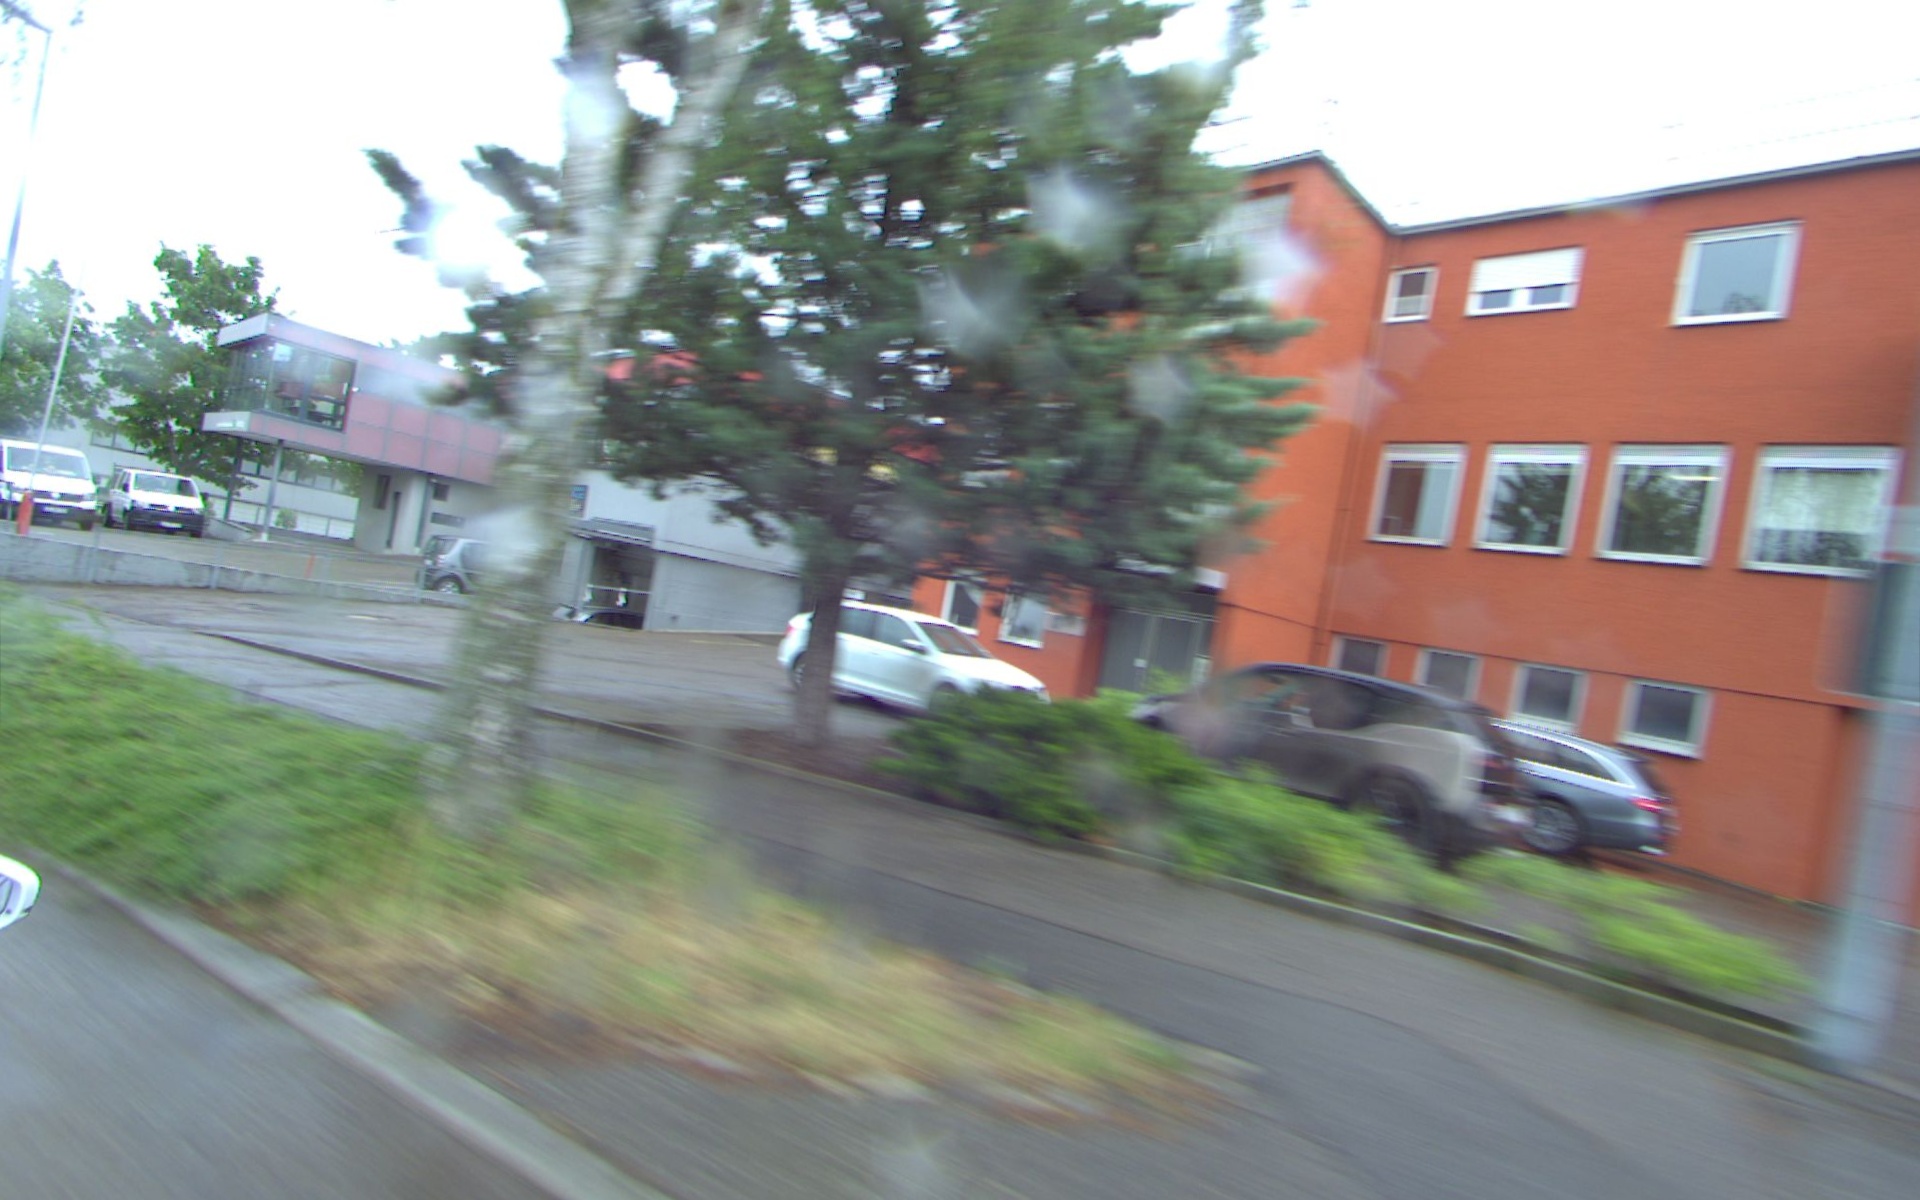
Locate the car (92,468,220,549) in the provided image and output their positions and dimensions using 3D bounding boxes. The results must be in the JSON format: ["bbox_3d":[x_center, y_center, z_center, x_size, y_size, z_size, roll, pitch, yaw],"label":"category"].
[{"bbox_3d":[-25.154,-2.878,31.410,4.868,2.037,2.055,6,-2,40],"label":"car"}]

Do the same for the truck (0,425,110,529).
[{"bbox_3d":[-26.524,-3.492,28.863,4.766,2.369,2.242,6,-2,39],"label":"truck"}]

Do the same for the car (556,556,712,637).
[{"bbox_3d":[-7.735,-0.065,23.994,1.607,1.513,3.031,7,-1,41],"label":"car"}]

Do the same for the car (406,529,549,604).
[{"bbox_3d":[-12.027,-0.826,25.148,1.656,1.463,2.707,6,-1,44],"label":"car"}]

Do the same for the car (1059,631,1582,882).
[{"bbox_3d":[3.416,1.431,10.231,1.991,1.596,4.459,11,-4,-42],"label":"car"}]

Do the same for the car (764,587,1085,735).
[{"bbox_3d":[-0.576,0.839,14.711,4.259,1.488,1.906,7,-1,34],"label":"car"}]

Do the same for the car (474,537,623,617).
[{"bbox_3d":[-13.419,-0.718,32.936,1.834,1.756,3.922,9,-4,45],"label":"car"}]

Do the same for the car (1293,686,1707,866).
[{"bbox_3d":[7.147,2.280,13.672,1.966,1.465,4.457,11,-4,-43],"label":"car"}]
